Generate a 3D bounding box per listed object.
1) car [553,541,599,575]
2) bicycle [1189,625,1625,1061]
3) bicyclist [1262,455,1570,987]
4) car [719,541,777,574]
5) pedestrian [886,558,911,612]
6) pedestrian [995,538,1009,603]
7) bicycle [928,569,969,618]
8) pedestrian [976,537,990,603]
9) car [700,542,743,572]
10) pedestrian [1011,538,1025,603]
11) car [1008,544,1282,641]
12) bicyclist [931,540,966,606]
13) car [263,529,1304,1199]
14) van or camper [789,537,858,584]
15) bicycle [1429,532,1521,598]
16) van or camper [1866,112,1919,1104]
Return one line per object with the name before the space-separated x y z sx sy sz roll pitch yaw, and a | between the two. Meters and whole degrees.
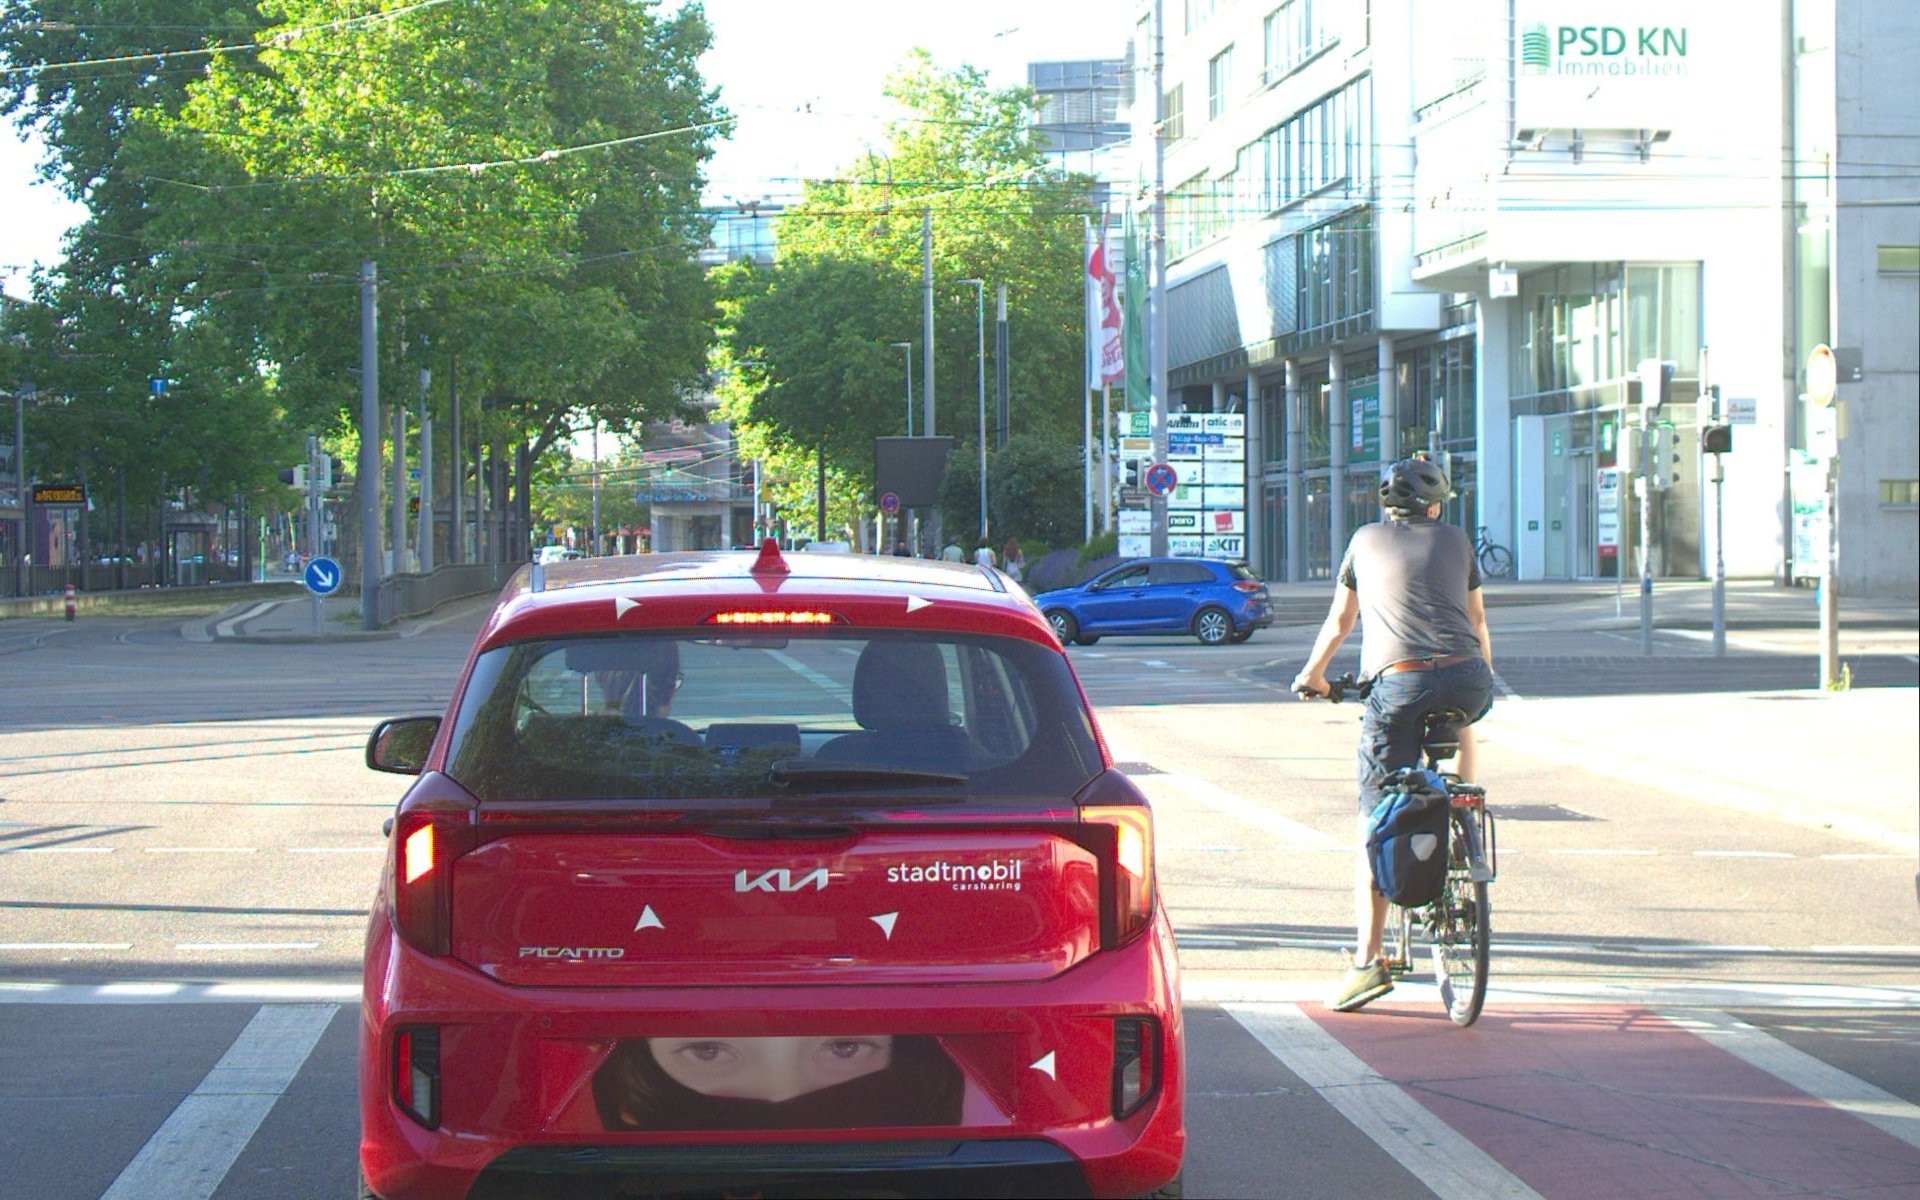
car | -19.740 -2.171 176.515 2.057 1.648 3.493 -1 1 -11
bicycle | 1.414 0.738 11.357 0.743 1.220 2.157 1 1 -11
bicyclist | 1.470 0.375 11.180 0.743 1.663 0.745 1 1 -12
car | -10.336 -2.085 167.515 2.478 1.523 4.433 -1 1 -7
pedestrian | -1.963 -0.481 109.829 0.742 1.710 0.748 -1 1 -3
pedestrian | 1.013 -0.714 82.403 0.294 1.556 0.356 -1 1 -3
bicycle | -0.280 -0.160 85.162 0.792 1.157 2.499 0 1 5
pedestrian | 0.548 -0.715 82.226 0.294 1.556 0.302 -1 1 1
car | -12.575 -2.291 181.434 1.884 1.523 4.433 -1 1 -8
pedestrian | 1.393 -0.711 82.494 0.294 1.556 0.314 -1 1 -5
car | 3.104 -0.129 57.590 4.263 1.562 1.848 0 1 16
bicyclist | -0.294 -0.679 85.187 0.785 1.629 0.639 0 1 6
car | -0.475 0.588 7.971 1.839 1.484 3.717 -1 1 -5
van or camper | -5.318 -1.554 133.368 2.145 1.744 4.433 -1 1 -9
bicycle | 11.434 -0.777 76.336 1.934 1.438 0.575 -1 1 -7
van or camper | 4.010 0.099 6.658 2.268 2.724 6.348 2 1 -5
